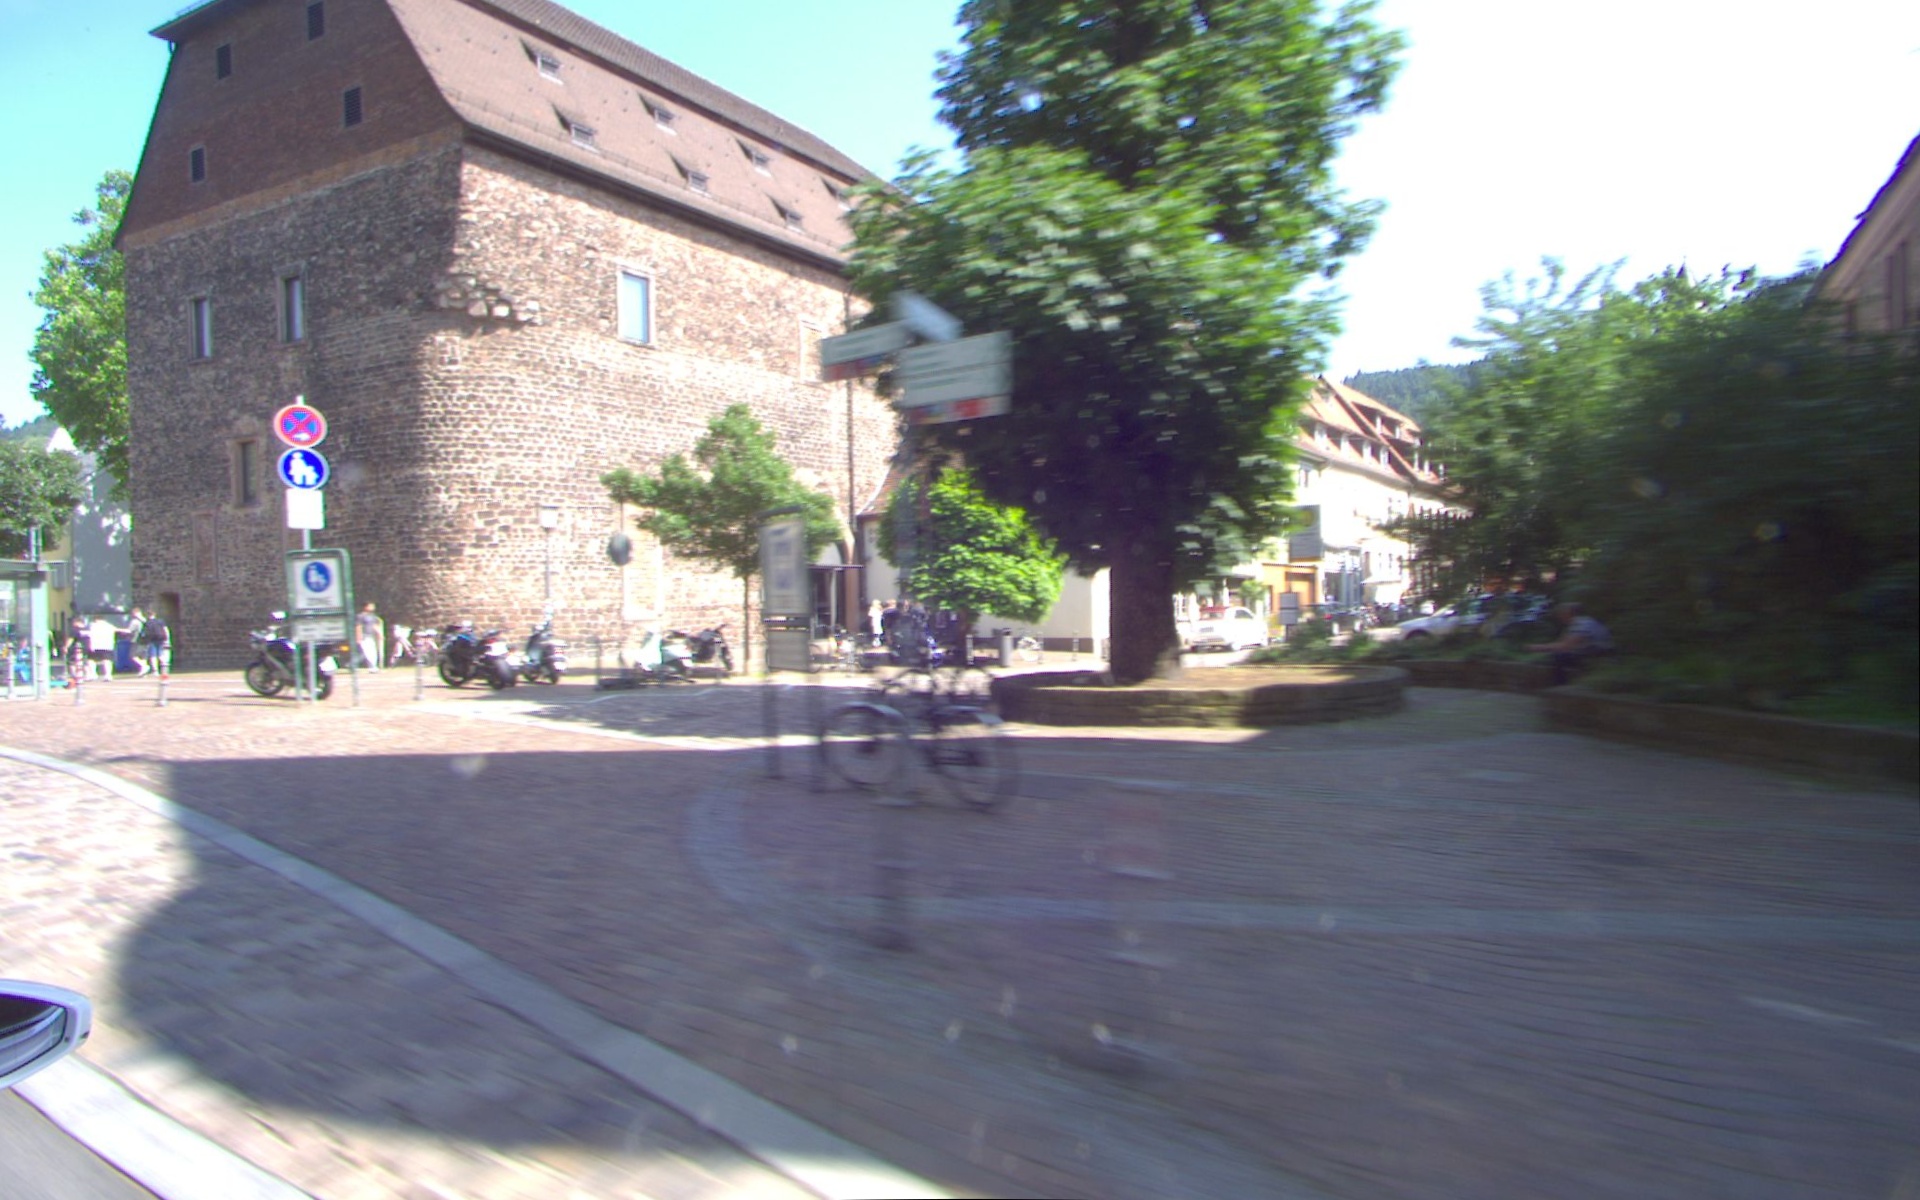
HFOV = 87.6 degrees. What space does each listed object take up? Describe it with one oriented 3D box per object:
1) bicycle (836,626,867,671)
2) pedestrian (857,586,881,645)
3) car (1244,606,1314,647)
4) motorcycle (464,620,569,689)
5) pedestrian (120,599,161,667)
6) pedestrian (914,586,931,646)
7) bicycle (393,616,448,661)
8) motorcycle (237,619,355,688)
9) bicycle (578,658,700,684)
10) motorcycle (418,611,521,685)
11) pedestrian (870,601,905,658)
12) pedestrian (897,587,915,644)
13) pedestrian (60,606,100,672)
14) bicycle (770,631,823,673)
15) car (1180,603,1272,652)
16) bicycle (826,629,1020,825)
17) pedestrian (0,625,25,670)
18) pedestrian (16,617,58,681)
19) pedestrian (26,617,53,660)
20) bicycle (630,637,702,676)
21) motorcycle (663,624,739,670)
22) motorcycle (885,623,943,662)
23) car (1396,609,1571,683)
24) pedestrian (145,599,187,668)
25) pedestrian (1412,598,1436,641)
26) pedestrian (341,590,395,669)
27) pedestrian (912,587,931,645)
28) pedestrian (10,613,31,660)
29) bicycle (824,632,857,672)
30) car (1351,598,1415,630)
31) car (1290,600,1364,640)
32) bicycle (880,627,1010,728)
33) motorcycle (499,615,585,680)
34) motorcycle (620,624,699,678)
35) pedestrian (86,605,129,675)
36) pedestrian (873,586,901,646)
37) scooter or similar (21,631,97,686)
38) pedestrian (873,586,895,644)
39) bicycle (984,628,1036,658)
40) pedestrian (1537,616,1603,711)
[{"bbox_3d":[-2.768,1.224,25.454,0.355,1.099,1.376,1,-2,-26],"label":"bicycle"},{"bbox_3d":[-3.157,0.539,34.854,0.787,2.039,0.734,0,-2,-8],"label":"pedestrian"},{"bbox_3d":[12.133,1.008,38.013,1.473,1.473,3.138,-2,-2,39],"label":"car"},{"bbox_3d":[-8.427,1.026,18.976,2.280,1.250,0.674,-2,-2,33],"label":"motorcycle"},{"bbox_3d":[-23.732,0.963,29.004,0.809,1.944,0.667,-1,-2,32],"label":"pedestrian"},{"bbox_3d":[-1.298,0.555,34.674,0.435,2.039,0.620,-1,-2,17],"label":"pedestrian"},{"bbox_3d":[-14.843,1.072,27.538,1.691,1.224,0.388,-1,-2,25],"label":"bicycle"},{"bbox_3d":[-10.462,0.816,15.740,2.454,1.026,0.565,-1,0,32],"label":"motorcycle"},{"bbox_3d":[-5.815,1.280,18.201,1.916,0.386,0.909,1,-3,-43],"label":"bicycle"},{"bbox_3d":[-8.954,0.867,18.252,2.169,1.282,0.654,-2,-1,33],"label":"motorcycle"},{"bbox_3d":[-2.175,0.871,30.091,0.799,1.684,0.652,-1,1,-33],"label":"pedestrian"},{"bbox_3d":[-1.923,0.564,35.736,0.499,2.039,0.442,-1,-2,21],"label":"pedestrian"},{"bbox_3d":[-25.066,1.107,28.518,0.835,1.825,0.651,-1,-1,32],"label":"pedestrian"},{"bbox_3d":[-3.968,1.257,24.252,1.362,0.978,0.359,-2,-2,32],"label":"bicycle"},{"bbox_3d":[9.258,0.918,34.635,1.814,1.592,3.823,-2,-1,36],"label":"car"},{"bbox_3d":[-0.312,0.826,7.029,1.750,1.219,0.192,0,0,44],"label":"bicycle"},{"bbox_3d":[-42.915,2.144,45.127,0.796,2.039,0.943,-1,-2,33],"label":"pedestrian"},{"bbox_3d":[-20.558,1.093,22.299,0.580,1.402,0.556,-1,-2,35],"label":"pedestrian"},{"bbox_3d":[-33.356,1.394,36.301,0.460,1.551,0.621,-1,-2,36],"label":"pedestrian"},{"bbox_3d":[-6.542,1.239,22.233,1.898,0.831,0.353,0,-2,32],"label":"bicycle"},{"bbox_3d":[-6.266,1.140,24.311,0.474,1.067,1.858,-2,-3,40],"label":"motorcycle"},{"bbox_3d":[-1.250,1.173,27.334,1.588,1.047,0.387,-1,-2,26],"label":"motorcycle"},{"bbox_3d":[14.157,1.255,27.179,3.951,1.843,1.723,-2,-3,38],"label":"car"},{"bbox_3d":[-23.878,1.011,30.099,0.865,2.039,0.729,-1,-2,32],"label":"pedestrian"},{"bbox_3d":[17.608,0.741,37.996,0.711,1.607,0.722,-1,0,35],"label":"pedestrian"},{"bbox_3d":[-15.043,0.736,25.469,0.898,1.974,0.829,-1,0,-5],"label":"pedestrian"},{"bbox_3d":[-1.375,0.562,35.430,0.519,2.039,0.439,-2,-2,45],"label":"pedestrian"},{"bbox_3d":[-33.651,1.311,35.864,0.460,1.701,0.448,-1,-2,36],"label":"pedestrian"},{"bbox_3d":[-2.941,1.266,24.544,0.355,0.961,1.377,1,-2,-26],"label":"bicycle"},{"bbox_3d":[20.947,0.723,49.557,1.975,1.431,3.973,-2,-3,38],"label":"car"},{"bbox_3d":[15.692,0.821,42.684,1.974,1.611,3.974,-2,-1,36],"label":"car"},{"bbox_3d":[-0.210,0.935,12.514,1.707,1.177,0.445,0,0,36],"label":"bicycle"},{"bbox_3d":[-8.302,0.944,19.853,2.002,1.250,0.545,-2,-2,33],"label":"motorcycle"},{"bbox_3d":[-6.257,1.062,20.824,1.814,1.086,0.506,-2,-2,33],"label":"motorcycle"},{"bbox_3d":[-23.622,1.104,27.750,0.809,1.907,0.667,-1,-2,32],"label":"pedestrian"},{"bbox_3d":[-2.479,0.554,34.069,0.759,2.039,0.692,-1,-2,20],"label":"pedestrian"},{"bbox_3d":[-18.199,1.175,20.250,0.318,1.079,1.087,-1,-2,30],"label":"scooter or similar"},{"bbox_3d":[-2.701,0.561,35.695,0.556,2.039,0.648,1,-2,-29],"label":"pedestrian"},{"bbox_3d":[1.491,1.296,30.043,1.566,0.890,0.419,-2,-2,32],"label":"bicycle"},{"bbox_3d":[7.262,0.750,11.935,0.640,1.082,0.628,-1,-2,31],"label":"pedestrian"}]
